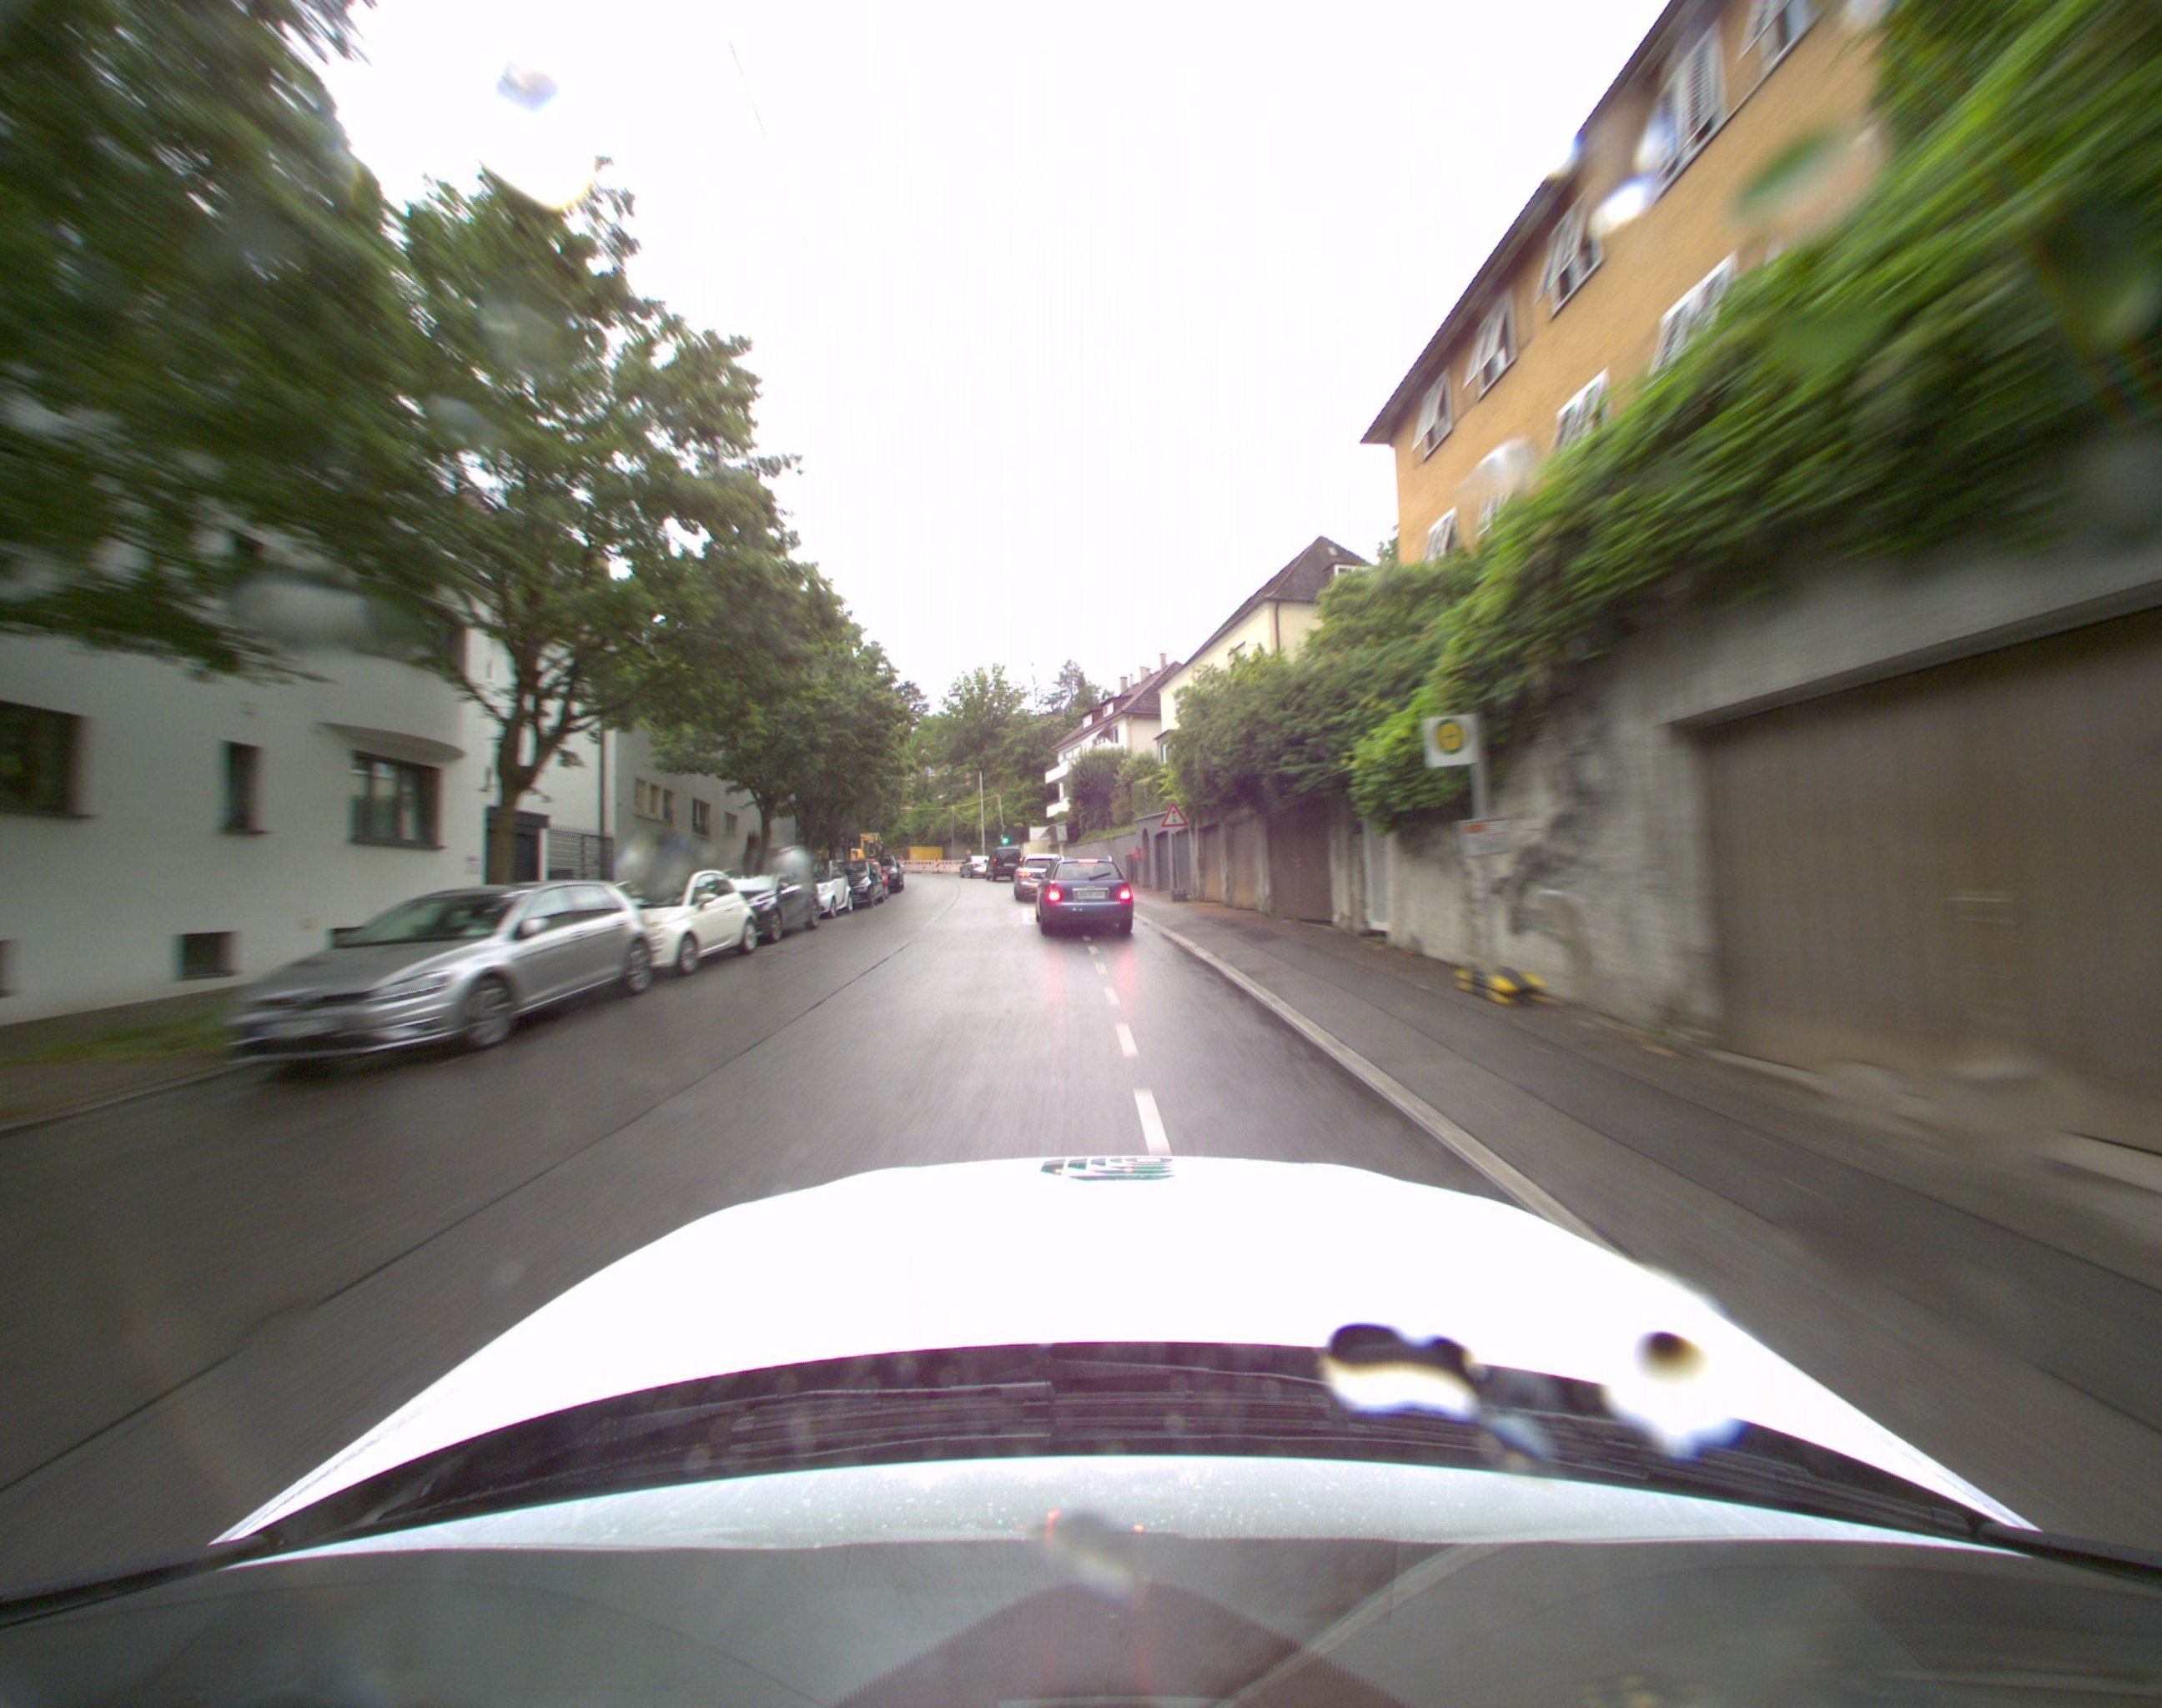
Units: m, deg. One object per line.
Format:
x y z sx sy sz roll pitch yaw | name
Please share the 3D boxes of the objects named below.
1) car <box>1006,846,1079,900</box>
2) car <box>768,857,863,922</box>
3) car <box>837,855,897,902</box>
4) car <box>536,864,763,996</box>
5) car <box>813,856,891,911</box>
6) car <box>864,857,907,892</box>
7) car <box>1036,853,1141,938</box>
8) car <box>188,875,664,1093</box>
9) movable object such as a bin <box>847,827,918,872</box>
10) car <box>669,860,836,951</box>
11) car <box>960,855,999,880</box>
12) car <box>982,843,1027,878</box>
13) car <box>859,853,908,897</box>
-1.356 0.561 27.064 1.926 1.618 4.307 -1 0 -9 | car
-7.171 0.911 22.304 1.552 1.510 3.379 -5 0 -4 | car
-8.017 0.901 30.786 1.631 1.564 3.839 -4 0 -7 | car
-6.300 1.014 12.356 1.570 1.488 3.466 -5 1 -3 | car
-7.226 0.886 26.034 1.553 1.488 4.090 -5 0 -5 | car
-9.774 0.968 40.954 1.682 1.508 4.301 -5 1 -10 | car
0.023 0.739 16.431 1.782 1.442 3.958 -2 0 -4 | car
-6.077 1.050 8.290 1.614 1.470 3.969 -5 0 -2 | car
-18.809 -0.416 76.794 7.233 4.014 2.846 -1 1 42 | movable object such as a bin
-6.603 0.950 16.953 1.660 1.488 4.471 -5 0 -2 | car
-6.572 0.844 52.303 1.725 1.486 4.051 -3 0 -18 | car
-4.272 0.341 45.140 1.995 1.793 3.984 -3 0 -12 | car
-8.735 0.891 36.335 1.682 1.608 4.560 -8 2 -10 | car
